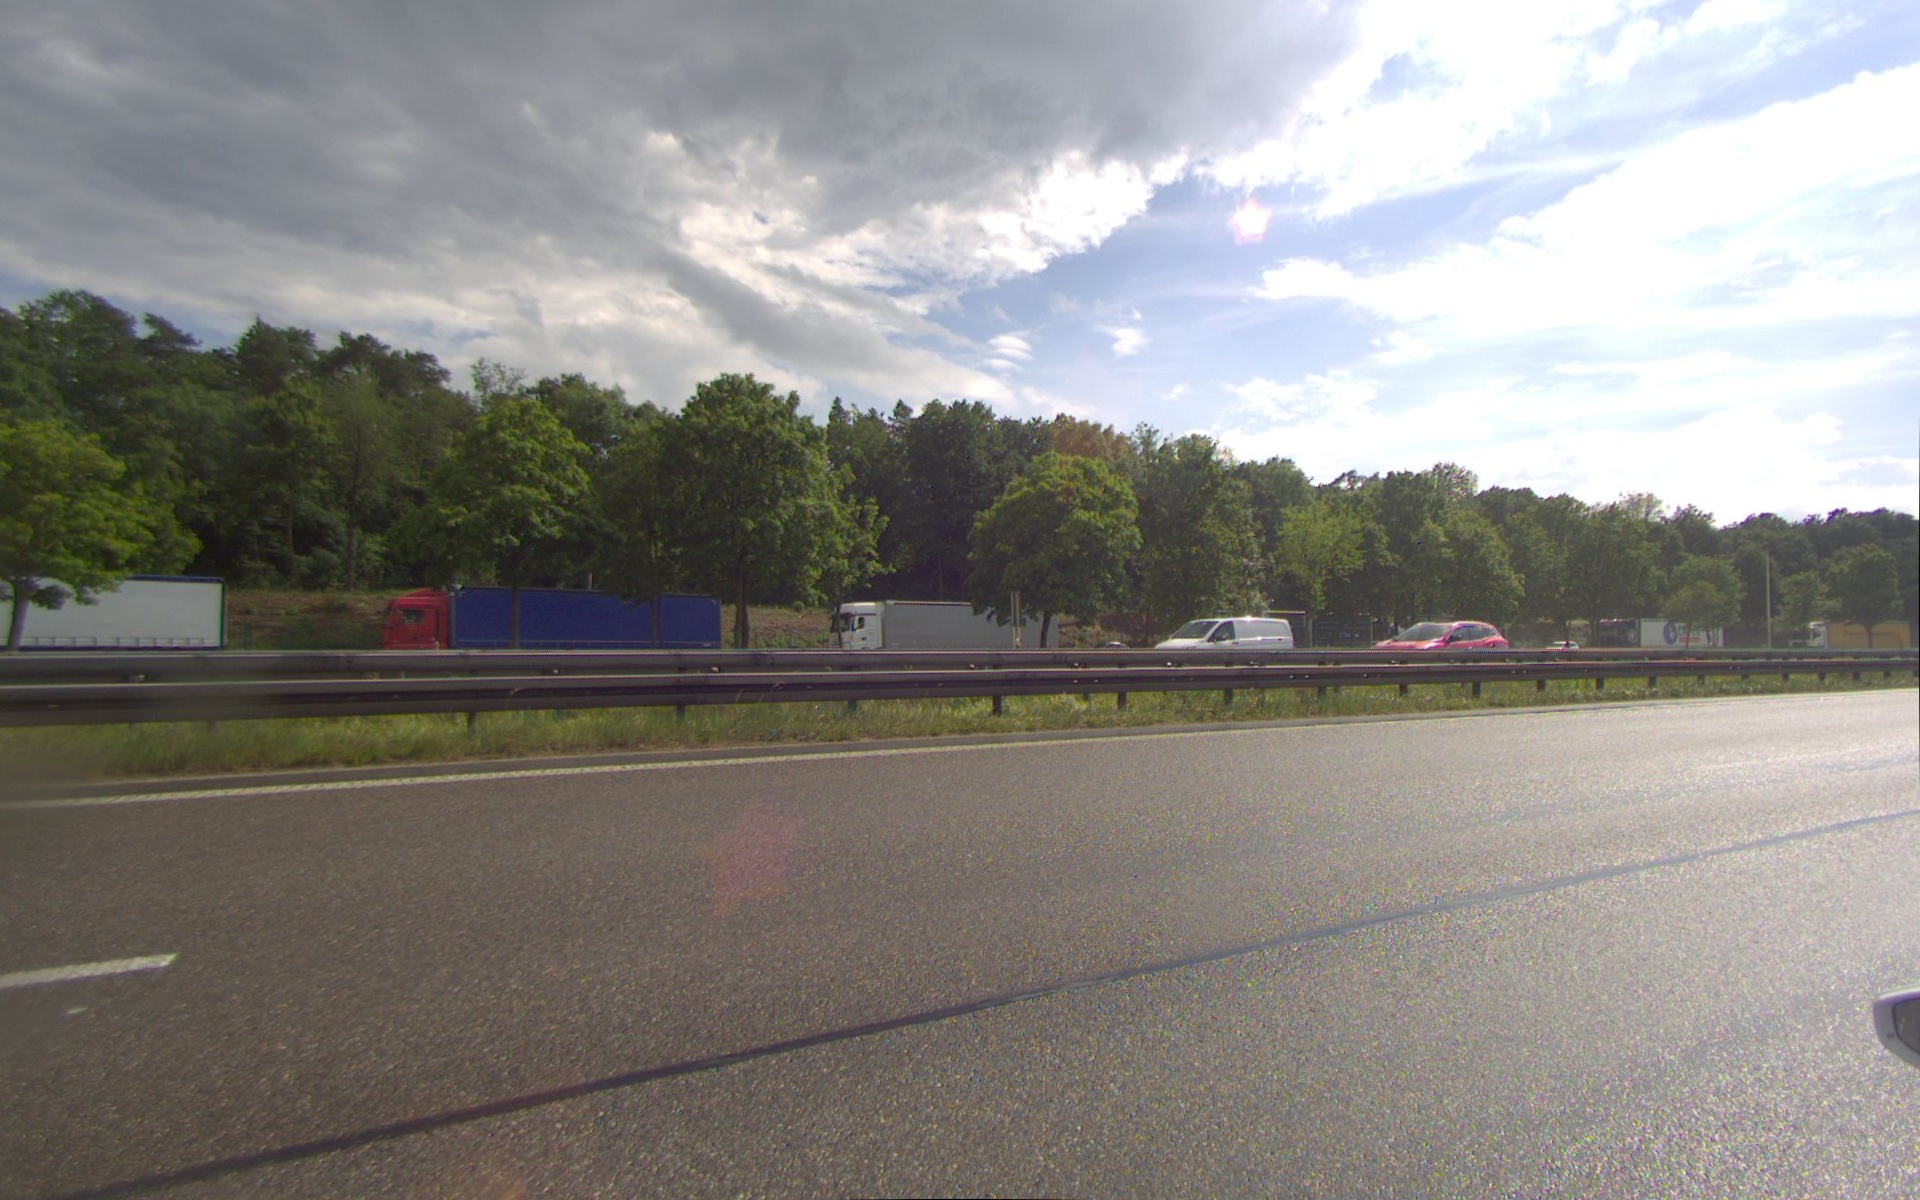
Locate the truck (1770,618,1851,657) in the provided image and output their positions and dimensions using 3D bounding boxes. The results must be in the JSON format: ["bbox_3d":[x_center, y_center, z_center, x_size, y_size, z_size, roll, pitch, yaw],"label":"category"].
[{"bbox_3d":[97.451,4.242,115.127,6.931,4.171,3.787,2,0,-16],"label":"truck"}]

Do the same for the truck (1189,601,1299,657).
[{"bbox_3d":[23.171,2.352,81.910,8.316,4.290,3.771,2,0,-29],"label":"truck"}]

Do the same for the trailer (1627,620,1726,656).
[{"bbox_3d":[76.978,4.061,107.909,10.346,3.697,3.781,1,-1,-23],"label":"trailer"}]

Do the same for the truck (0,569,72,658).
[{"bbox_3d":[-37.046,0.465,37.990,5.046,3.311,2.631,2,0,-40],"label":"truck"}]

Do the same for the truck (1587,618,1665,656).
[{"bbox_3d":[69.291,3.835,104.549,6.613,3.709,3.777,2,0,-24],"label":"truck"}]

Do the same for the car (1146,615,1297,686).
[{"bbox_3d":[8.374,1.598,32.006,4.723,2.072,1.821,2,0,-30],"label":"car"}]

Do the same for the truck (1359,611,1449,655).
[{"bbox_3d":[40.156,2.985,90.856,7.266,3.637,3.771,2,0,-29],"label":"truck"}]

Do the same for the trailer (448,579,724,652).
[{"bbox_3d":[-19.191,0.920,52.569,13.303,3.450,2.802,2,-1,-37],"label":"trailer"}]

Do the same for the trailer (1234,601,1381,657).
[{"bbox_3d":[29.767,2.520,85.686,13.633,4.464,3.773,1,-1,-29],"label":"trailer"}]

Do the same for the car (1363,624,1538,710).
[{"bbox_3d":[13.054,1.737,26.658,4.723,2.072,1.821,2,0,-30],"label":"car"}]

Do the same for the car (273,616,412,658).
[{"bbox_3d":[-32.619,1.956,53.180,6.080,2.040,1.978,2,0,-39],"label":"car"}]

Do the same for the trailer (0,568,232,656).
[{"bbox_3d":[-34.213,0.559,40.496,7.678,3.275,2.558,2,-1,-40],"label":"trailer"}]

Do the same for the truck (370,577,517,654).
[{"bbox_3d":[-24.802,0.754,48.312,5.843,3.502,2.839,2,0,-37],"label":"truck"}]

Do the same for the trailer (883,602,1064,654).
[{"bbox_3d":[1.102,1.896,67.385,12.337,3.259,3.329,2,-1,-32],"label":"trailer"}]

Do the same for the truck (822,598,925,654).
[{"bbox_3d":[-5.441,1.649,63.193,5.450,3.316,3.332,2,0,-34],"label":"truck"}]

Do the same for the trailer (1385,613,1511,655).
[{"bbox_3d":[45.760,3.170,93.984,13.182,3.697,3.773,1,-1,-29],"label":"trailer"}]

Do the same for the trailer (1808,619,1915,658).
[{"bbox_3d":[105.409,4.523,117.452,11.534,4.171,3.787,2,0,-16],"label":"trailer"}]
